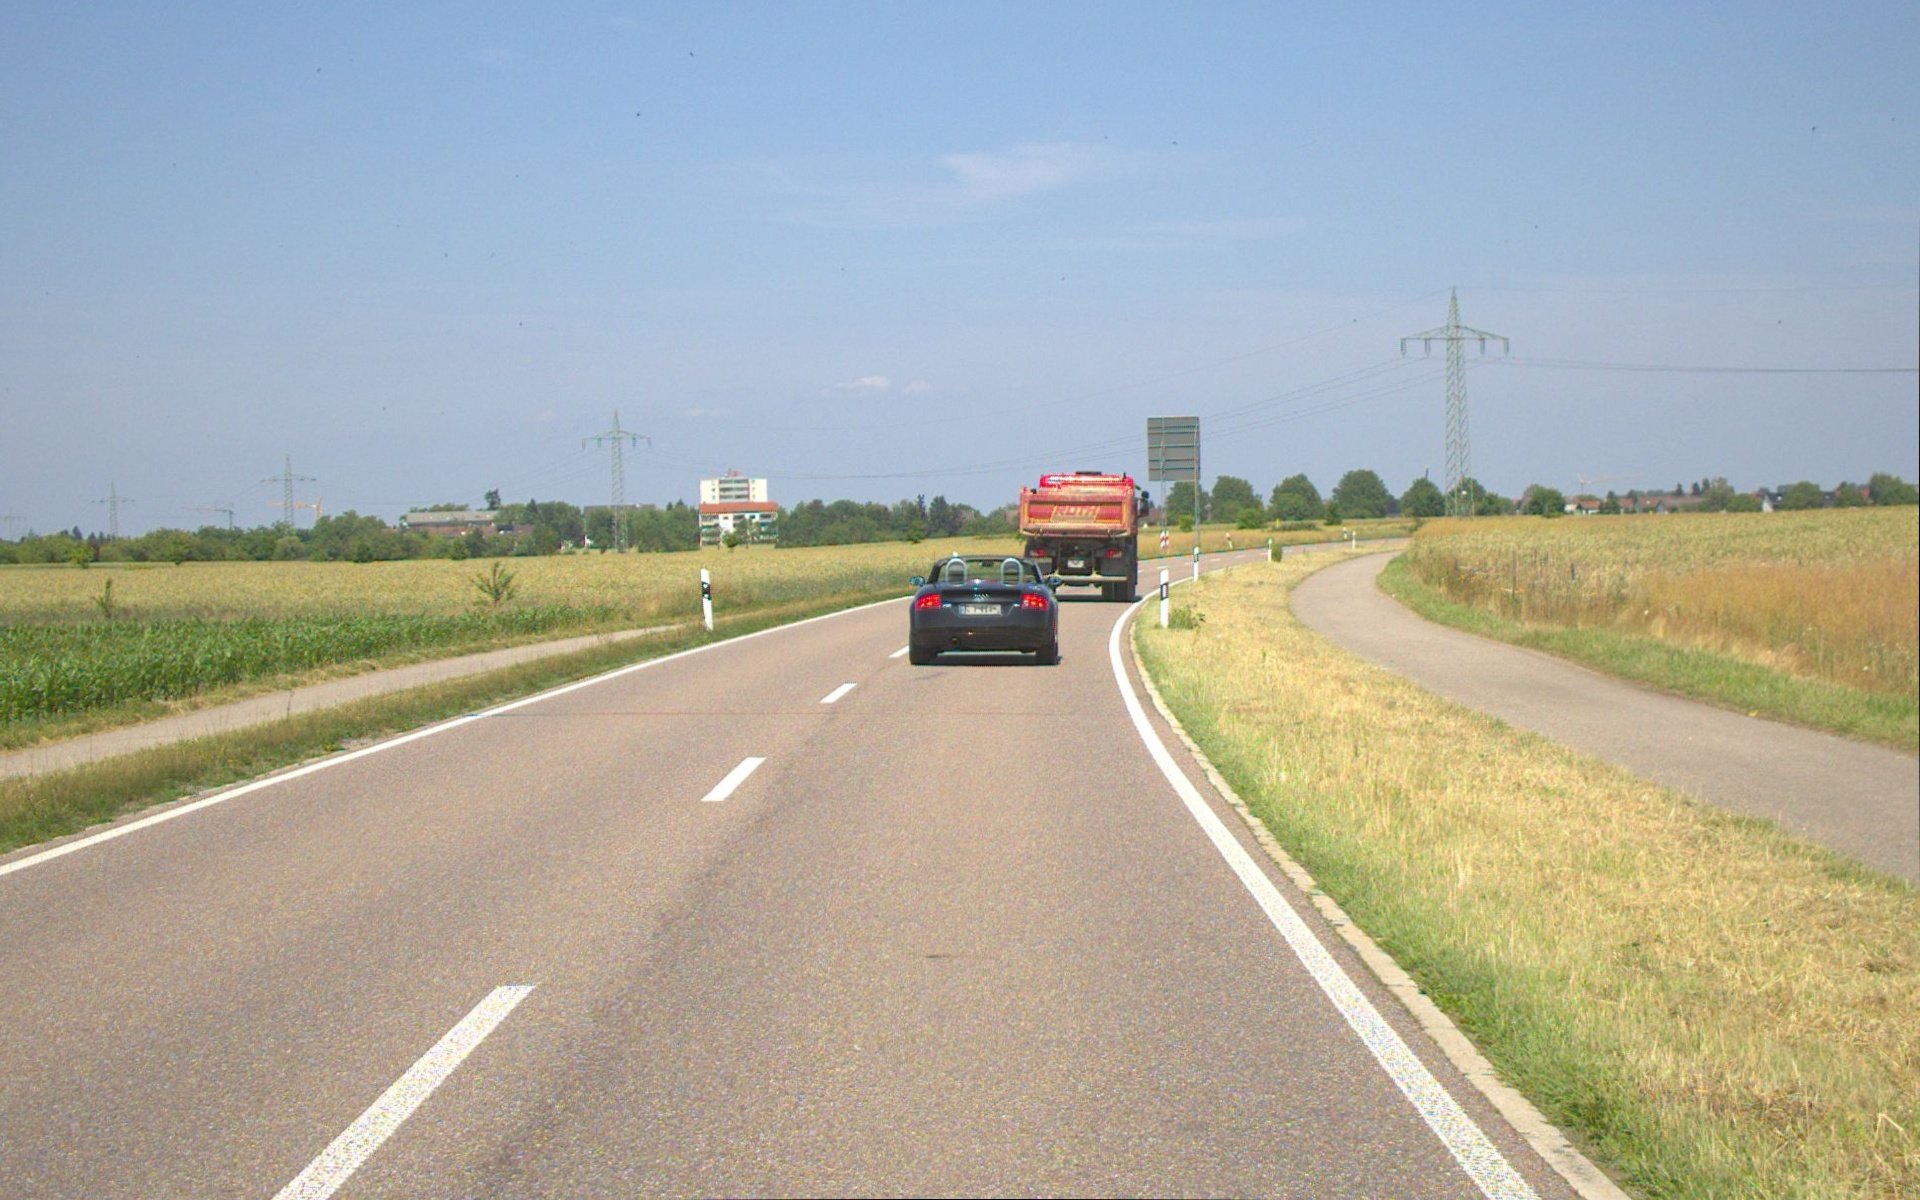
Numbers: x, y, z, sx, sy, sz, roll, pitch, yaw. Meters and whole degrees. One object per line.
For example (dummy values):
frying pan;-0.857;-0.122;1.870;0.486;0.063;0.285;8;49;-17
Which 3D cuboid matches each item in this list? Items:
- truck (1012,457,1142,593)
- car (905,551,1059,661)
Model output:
truck;2.837;-1.748;82.121;2.938;3.078;7.196;0;1;3
car;0.311;0.042;41.904;1.744;1.275;4.000;0;1;2
